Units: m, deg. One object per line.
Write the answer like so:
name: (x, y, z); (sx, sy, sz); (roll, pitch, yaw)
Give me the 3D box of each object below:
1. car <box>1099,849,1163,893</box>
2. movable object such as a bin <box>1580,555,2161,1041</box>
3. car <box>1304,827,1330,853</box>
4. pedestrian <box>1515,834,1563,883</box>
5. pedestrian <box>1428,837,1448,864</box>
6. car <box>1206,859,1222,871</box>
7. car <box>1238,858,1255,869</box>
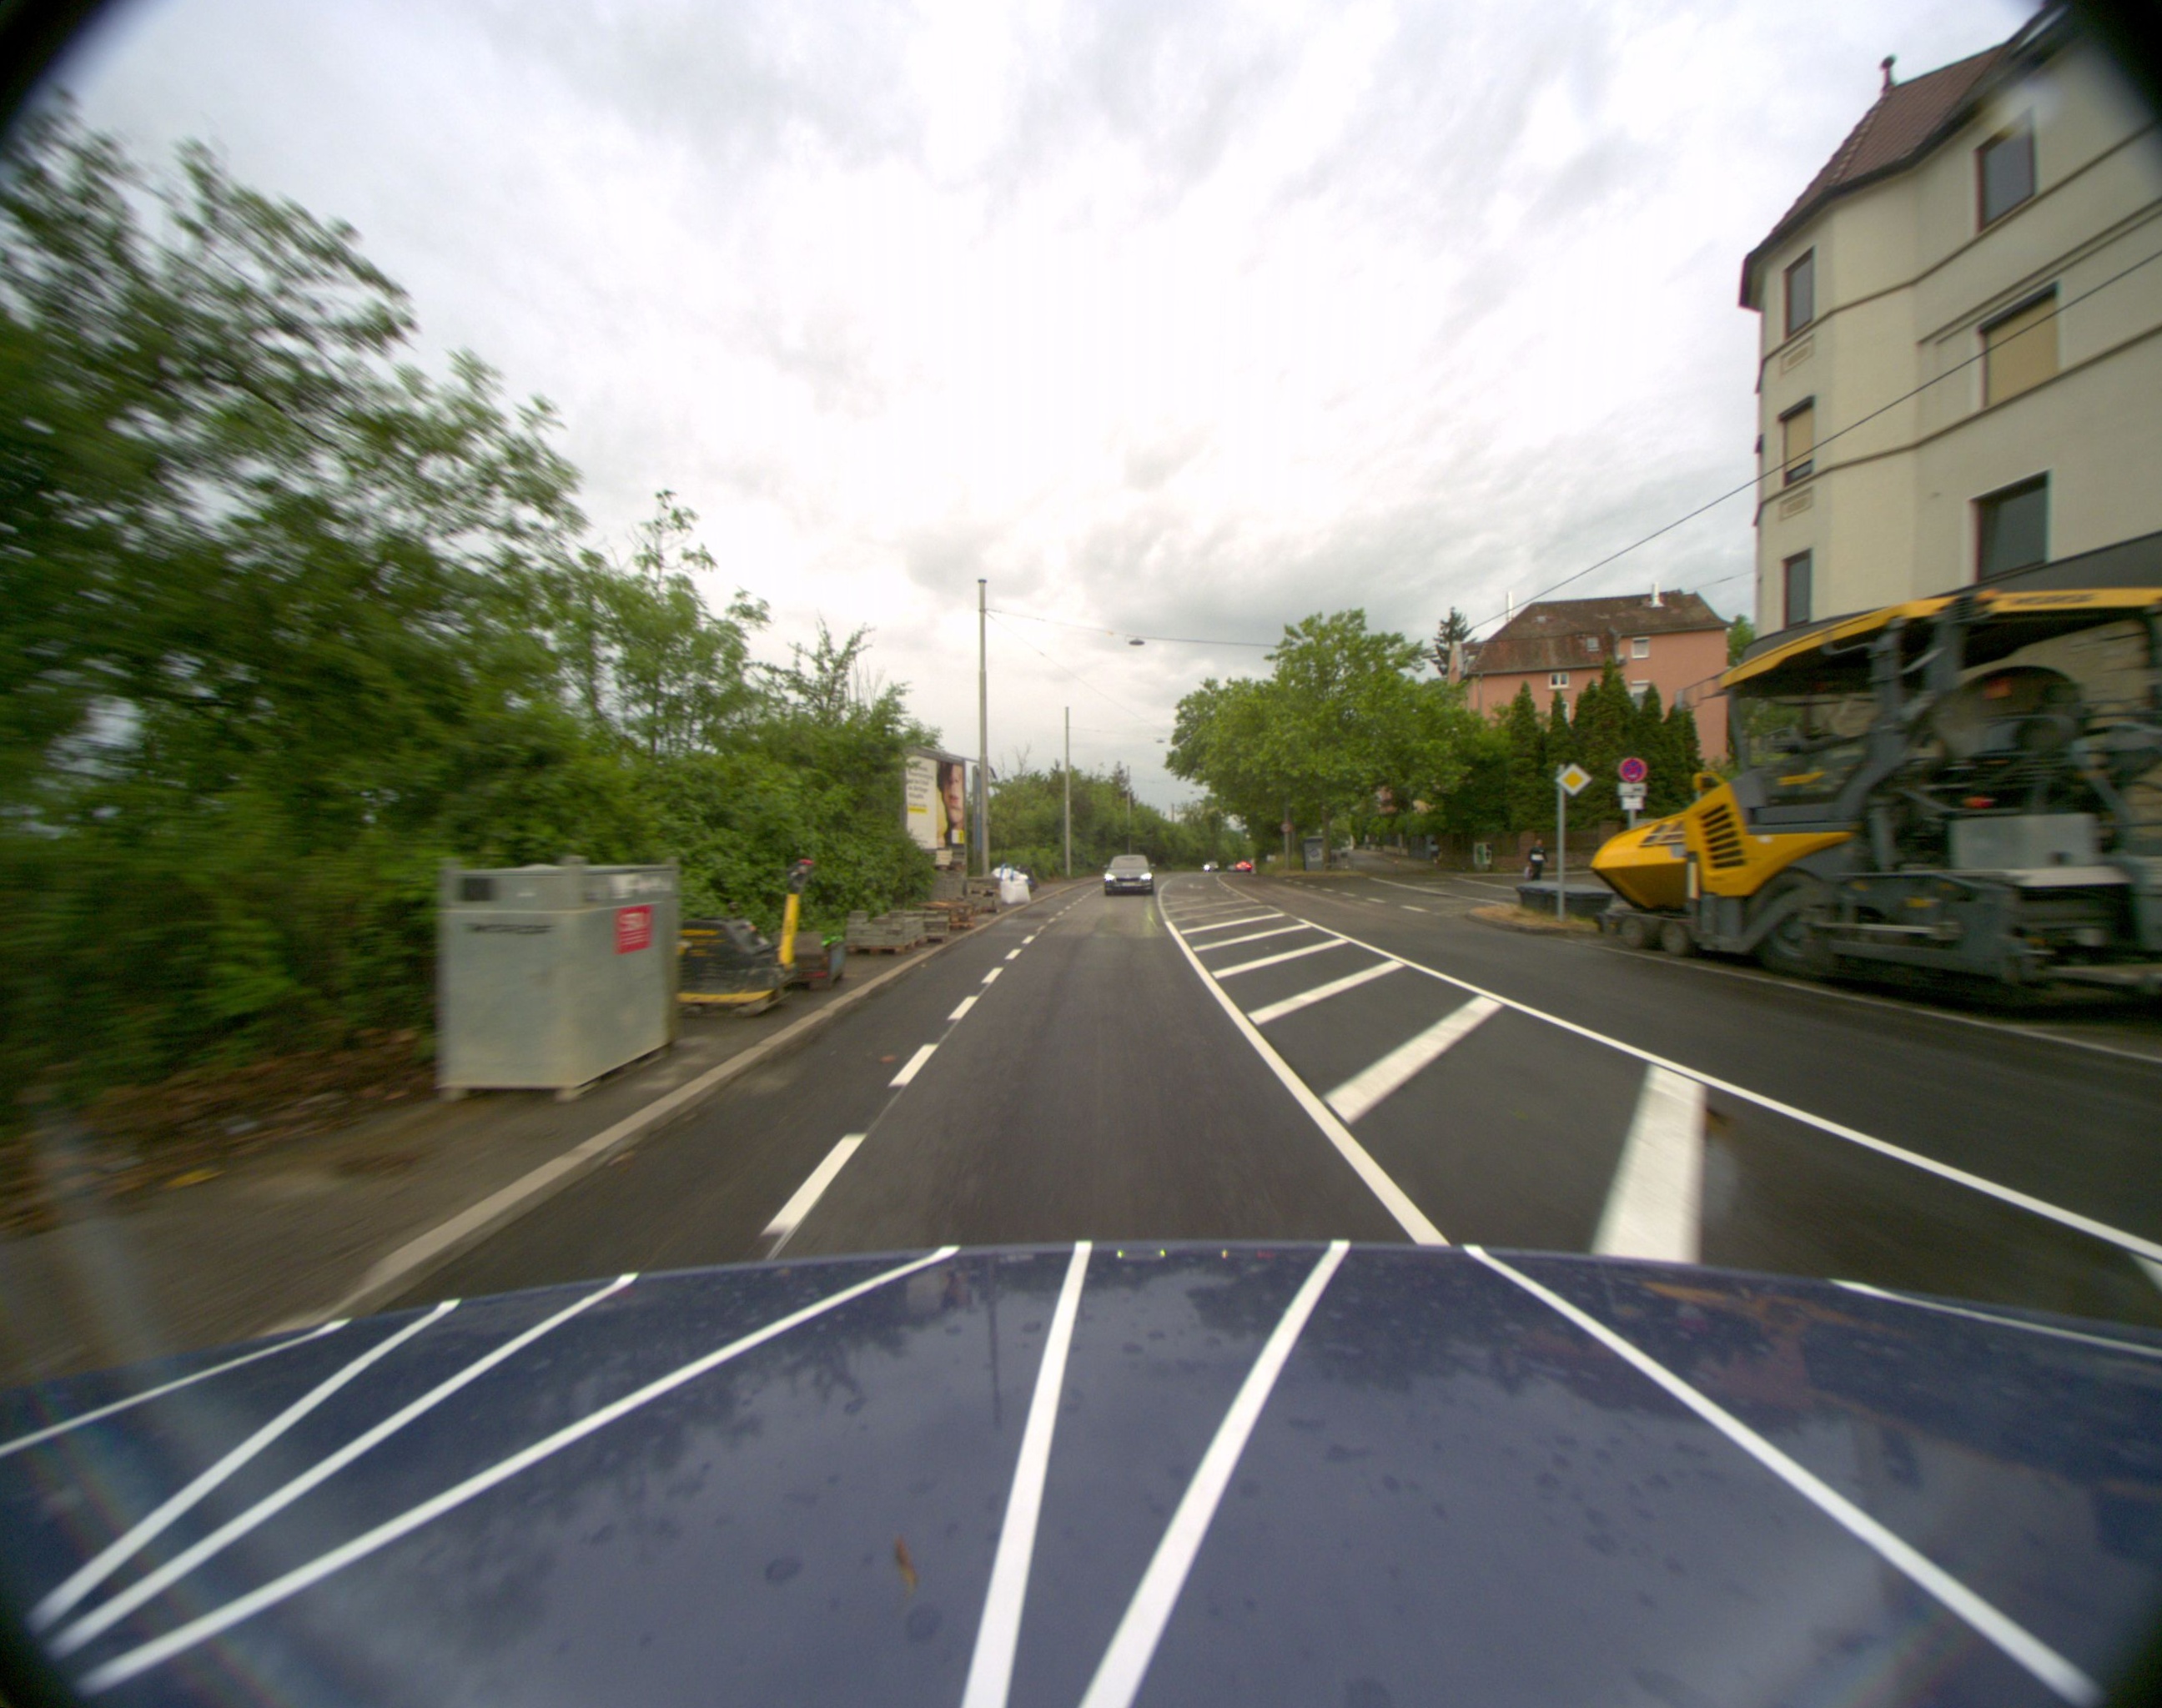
car: (1.941, 0.644, 28.561); (1.979, 1.496, 4.004); (-2, -1, 9)
movable object such as a bin: (9.144, -0.403, 8.970); (2.780, 3.832, 5.991); (-2, -1, 5)
car: (20.236, -1.183, 65.384); (1.996, 2.001, 4.634); (-2, -1, 16)
pedestrian: (15.496, 0.159, 25.705); (0.890, 1.620, 0.994); (-2, -1, -16)
pedestrian: (18.380, -0.182, 39.140); (0.792, 1.346, 0.792); (-2, -1, 16)
car: (17.819, 1.502, 101.935); (1.997, 1.433, 4.004); (-2, -1, 10)
car: (22.266, 1.292, 102.191); (2.074, 1.344, 4.719); (-2, -1, 13)
